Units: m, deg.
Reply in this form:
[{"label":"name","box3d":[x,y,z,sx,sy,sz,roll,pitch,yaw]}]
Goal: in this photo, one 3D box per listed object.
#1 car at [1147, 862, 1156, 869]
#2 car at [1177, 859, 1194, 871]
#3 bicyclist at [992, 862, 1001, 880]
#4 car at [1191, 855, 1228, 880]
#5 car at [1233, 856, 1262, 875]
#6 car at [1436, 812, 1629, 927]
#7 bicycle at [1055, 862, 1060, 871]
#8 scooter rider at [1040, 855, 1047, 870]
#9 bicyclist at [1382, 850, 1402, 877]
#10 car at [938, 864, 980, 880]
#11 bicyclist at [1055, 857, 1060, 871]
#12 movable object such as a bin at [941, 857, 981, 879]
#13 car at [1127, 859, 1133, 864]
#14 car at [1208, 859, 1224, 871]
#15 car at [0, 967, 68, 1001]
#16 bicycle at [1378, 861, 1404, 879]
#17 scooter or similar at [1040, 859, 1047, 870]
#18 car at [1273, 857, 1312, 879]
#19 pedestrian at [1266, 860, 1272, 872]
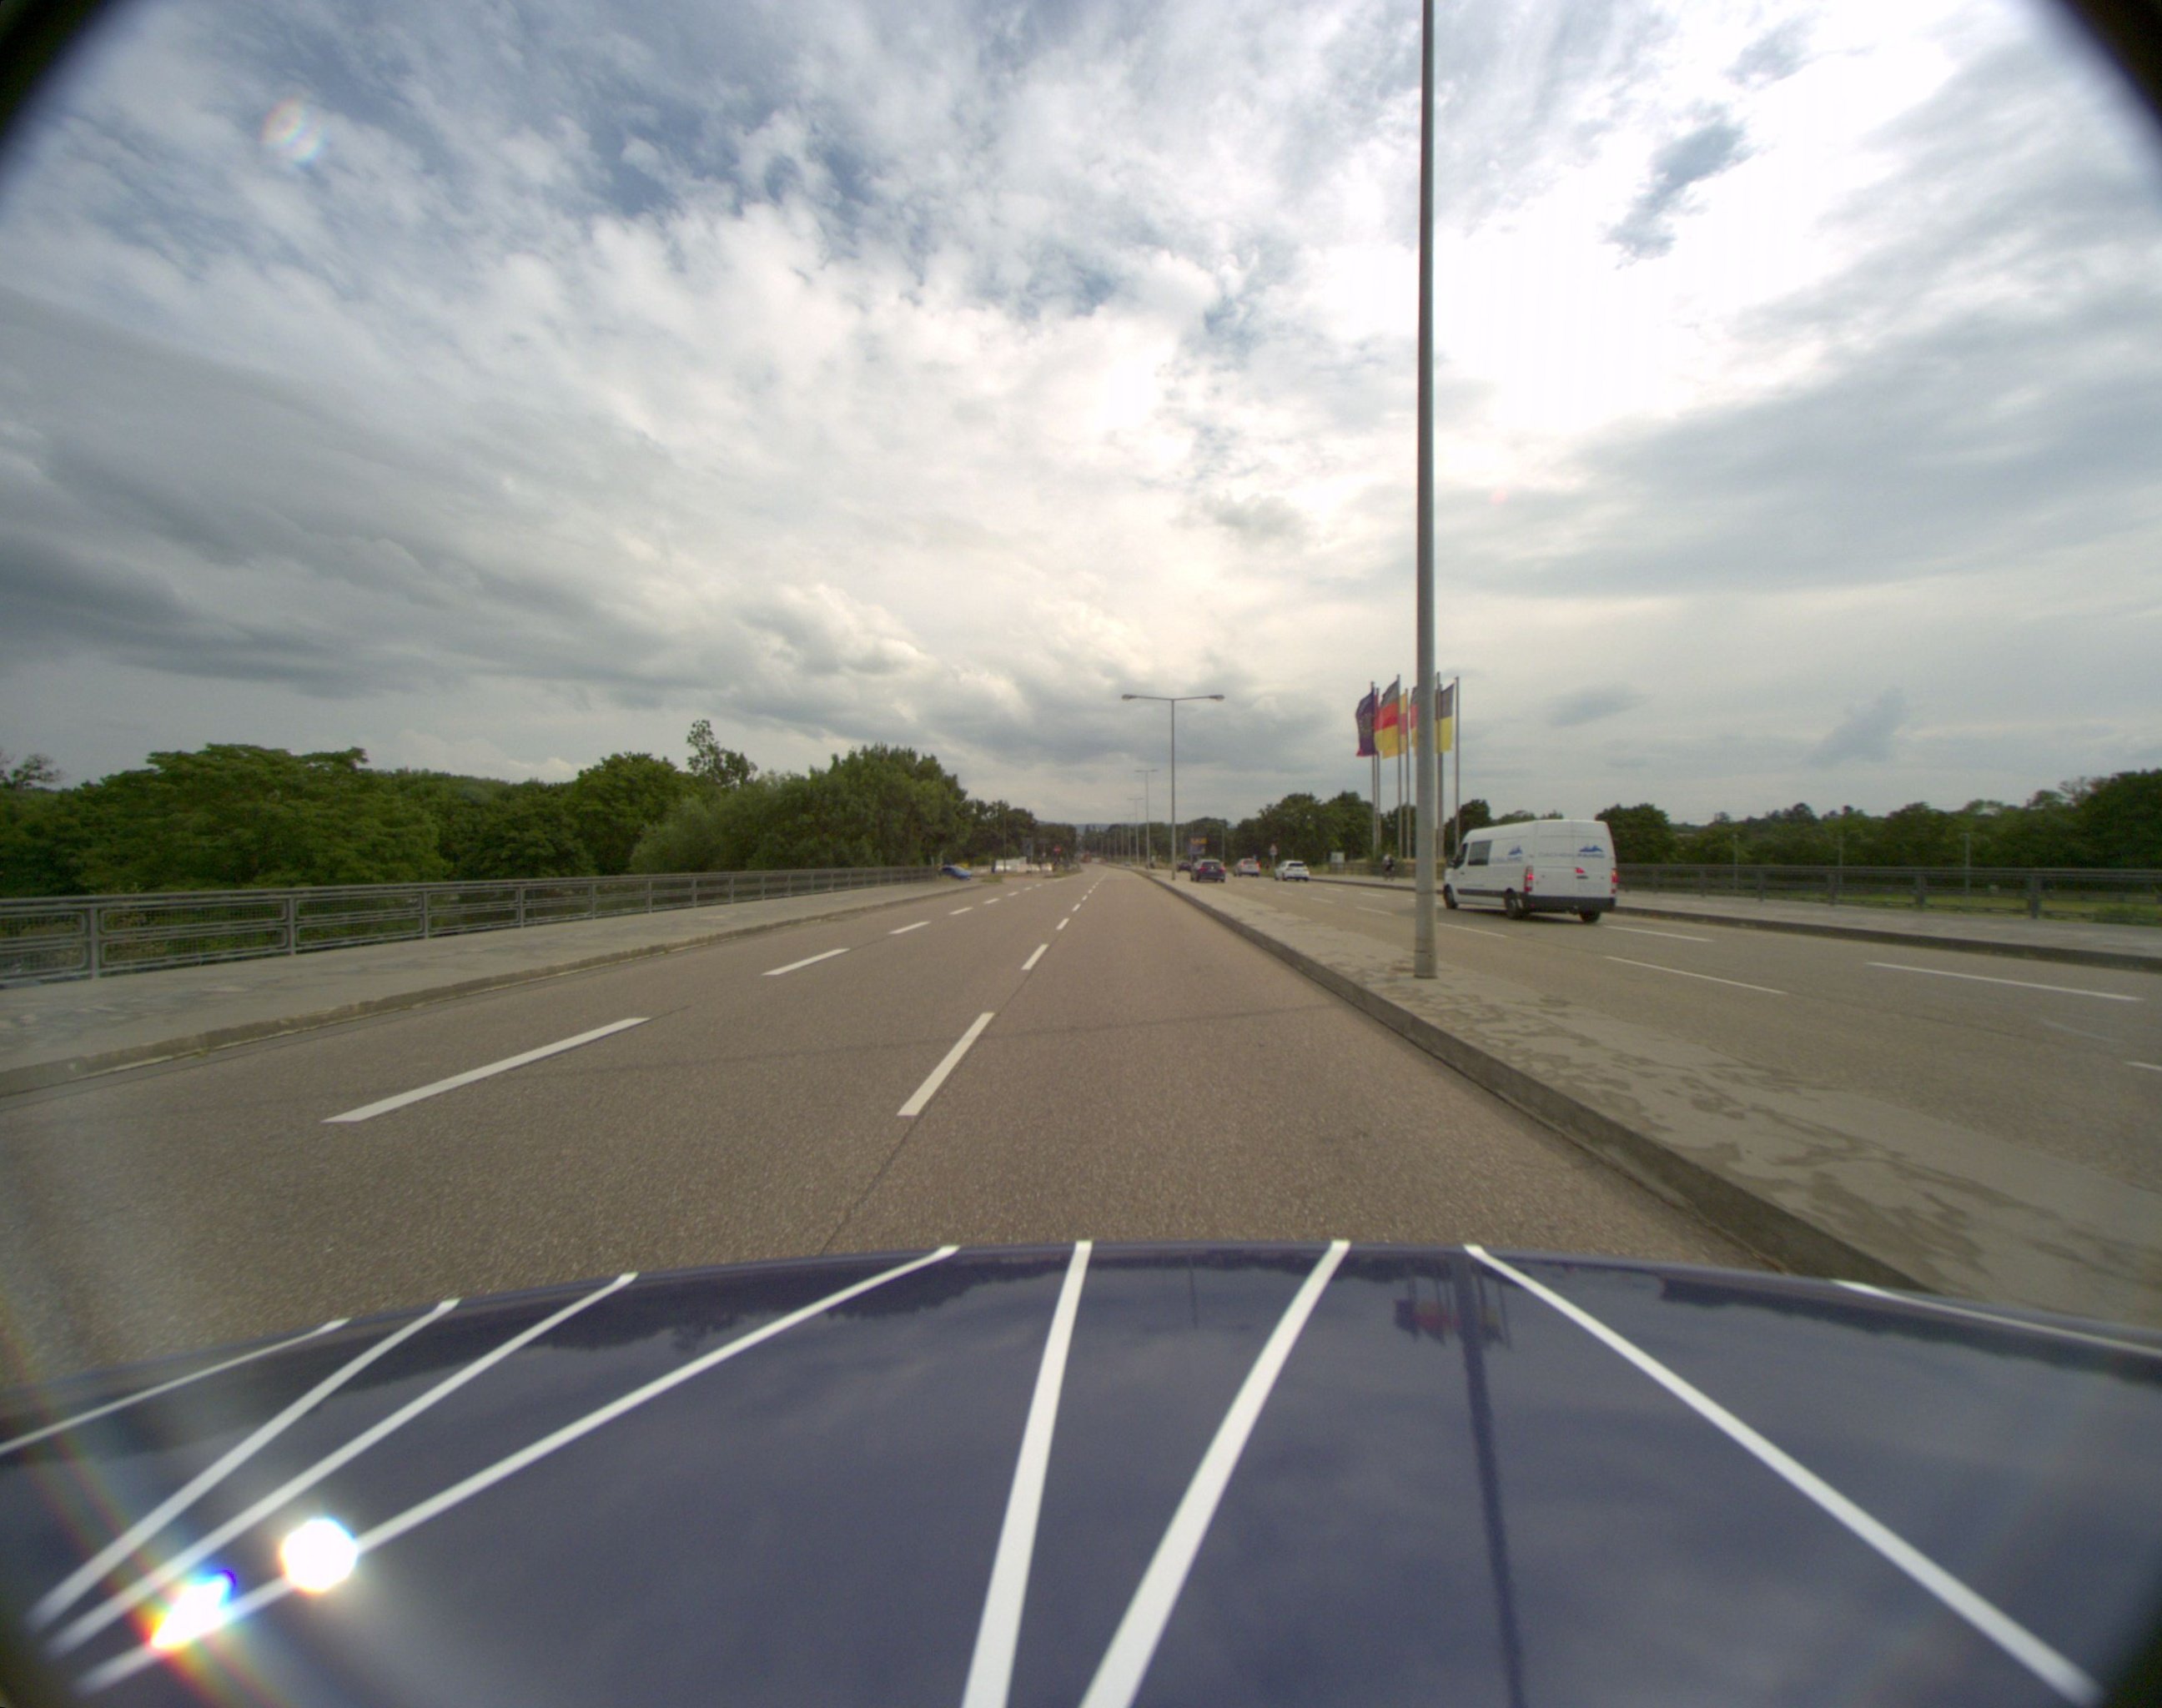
[{"label":"car","box3d":[15.861,2.573,170.852,1.767,1.432,4.178,1,-1,2]},{"label":"car","box3d":[14.373,1.494,104.687,1.744,1.507,4.316,1,0,0]},{"label":"bicyclist","box3d":[-8.015,1.577,71.871,0.666,1.649,0.805,-2,-1,2]},{"label":"car","box3d":[8.227,0.844,48.976,1.742,1.472,4.777,1,0,2]},{"label":"car","box3d":[15.717,1.033,71.919,1.867,1.715,4.771,1,0,3]},{"label":"car","box3d":[11.911,0.363,20.745,2.057,2.627,6.403,1,0,7]},{"label":"bicycle","box3d":[-2.917,1.601,95.953,0.575,1.141,1.982,0,-1,-1]},{"label":"scooter rider","box3d":[-4.260,0.915,86.024,0.588,1.680,0.744,-2,1,5]},{"label":"bicyclist","box3d":[19.162,0.565,46.833,0.797,1.617,0.976,-2,1,0]},{"label":"car","box3d":[-12.749,1.888,79.661,3.989,1.509,1.883,-2,0,30]},{"label":"bicyclist","box3d":[-2.961,1.253,95.916,0.653,1.648,0.876,-2,1,0]},{"label":"movable object such as a bin","box3d":[-15.204,1.793,96.674,4.510,2.673,2.103,-2,0,7]},{"label":"car","box3d":[15.603,2.329,241.206,1.851,1.591,4.562,0,-1,1]},{"label":"car","box3d":[17.736,1.492,100.151,1.653,1.506,4.017,1,-1,3]},{"label":"car","box3d":[-61.589,7.530,44.078,3.992,1.565,2.002,-2,0,15]},{"label":"bicycle","box3d":[19.195,0.968,47.089,0.708,1.043,2.060,-1,0,0]},{"label":"scooter or similar","box3d":[-4.255,1.219,86.014,0.589,1.217,1.203,-2,0,5]},{"label":"car","box3d":[15.235,0.982,54.922,1.742,1.472,4.472,1,0,2]},{"label":"pedestrian","box3d":[26.951,1.762,108.906,0.866,1.683,0.680,1,0,20]}]
